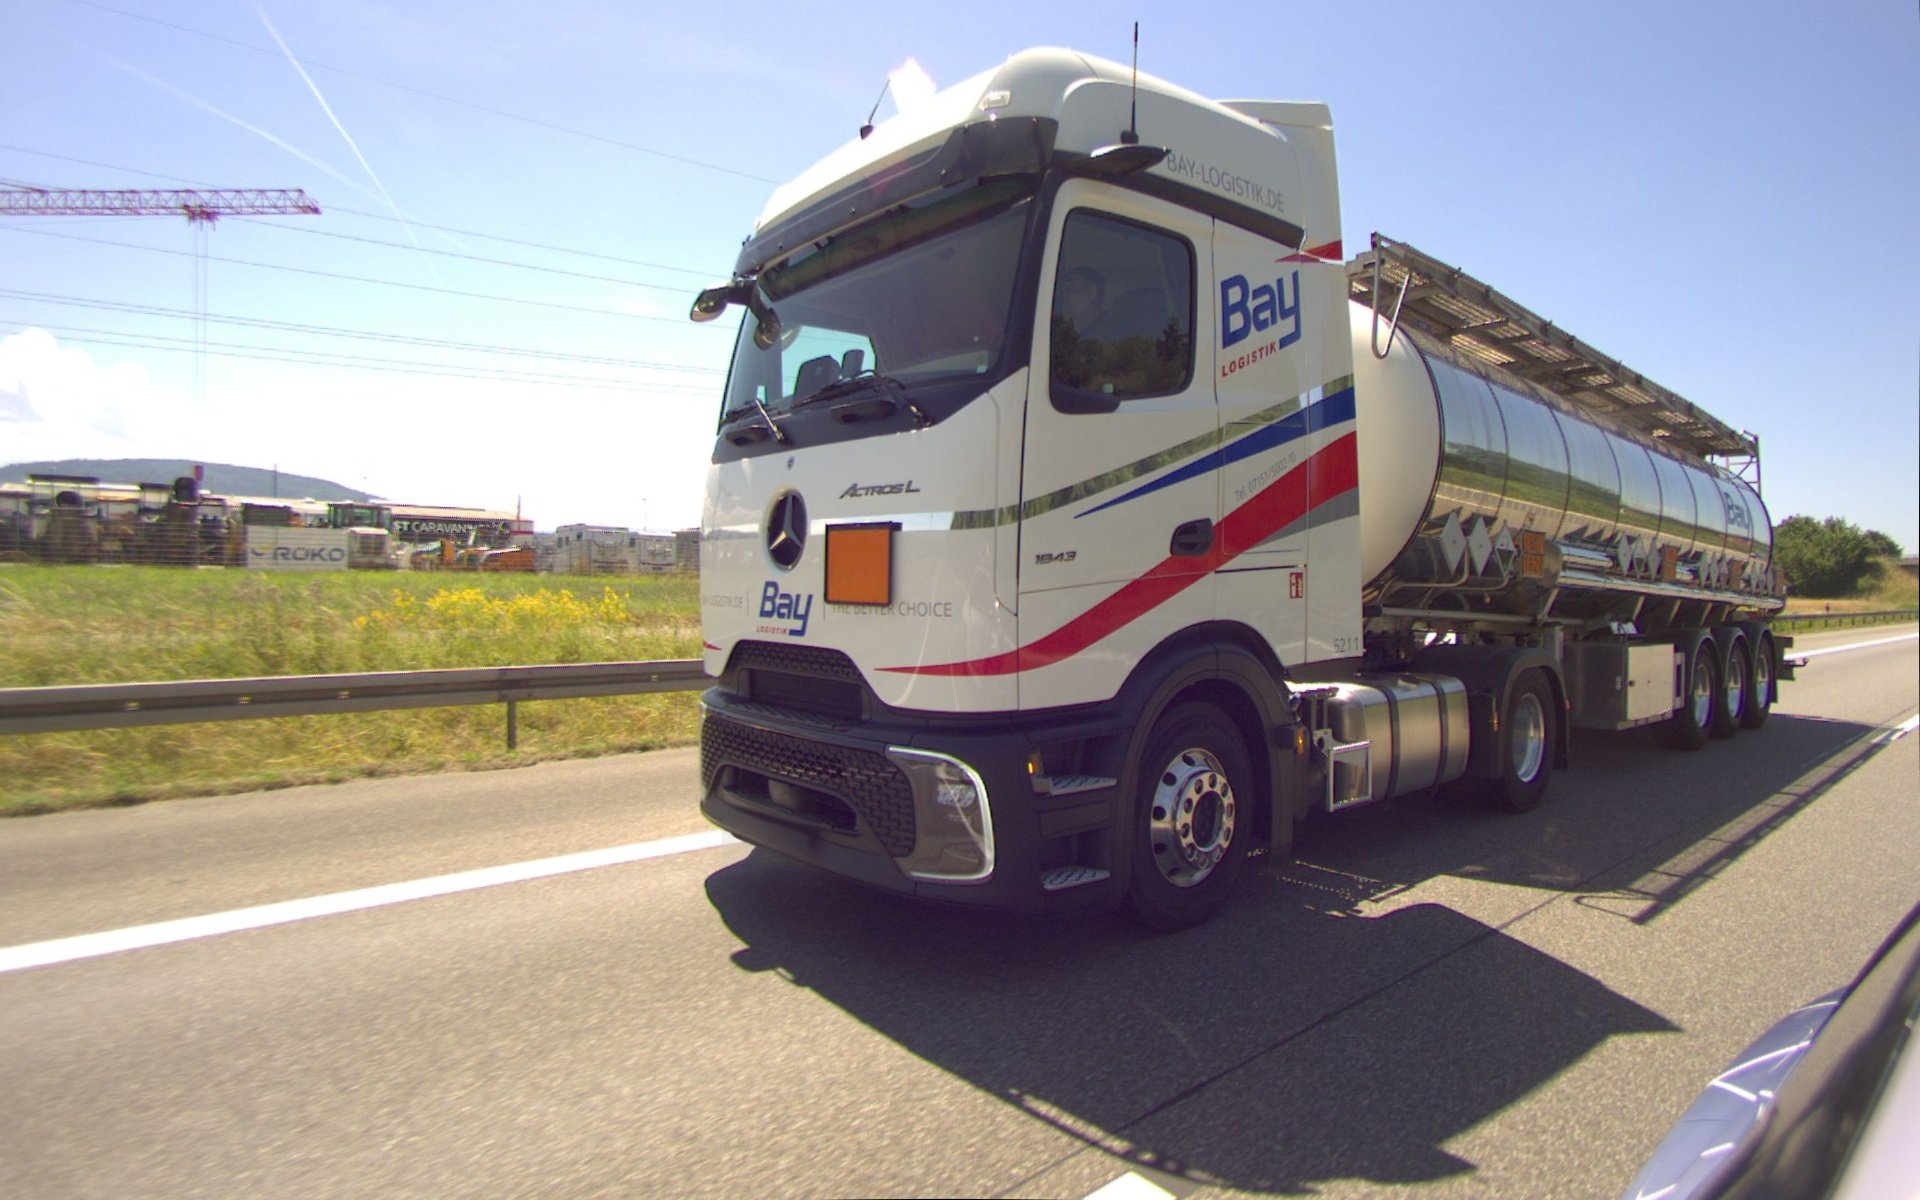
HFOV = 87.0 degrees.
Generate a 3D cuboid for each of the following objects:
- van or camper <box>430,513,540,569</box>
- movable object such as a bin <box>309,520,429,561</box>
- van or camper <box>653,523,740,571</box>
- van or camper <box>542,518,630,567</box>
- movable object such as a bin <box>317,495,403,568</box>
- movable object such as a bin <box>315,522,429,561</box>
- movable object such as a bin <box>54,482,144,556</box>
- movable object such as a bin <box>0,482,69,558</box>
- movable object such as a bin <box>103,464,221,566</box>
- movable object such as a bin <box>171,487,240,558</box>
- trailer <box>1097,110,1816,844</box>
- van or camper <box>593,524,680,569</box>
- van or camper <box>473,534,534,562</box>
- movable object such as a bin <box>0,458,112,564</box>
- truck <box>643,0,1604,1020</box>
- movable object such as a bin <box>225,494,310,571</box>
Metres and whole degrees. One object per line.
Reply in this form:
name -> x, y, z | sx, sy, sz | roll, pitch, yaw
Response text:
van or camper -> -24.869, -3.046, 52.691 | 3.103, 2.552, 9.337 | 0, 2, -38
movable object such as a bin -> -40.400, -4.026, 69.311 | 6.688, 2.585, 2.919 | -1, 3, -41
van or camper -> -15.133, -3.024, 57.842 | 2.393, 2.584, 6.360 | 1, 2, -38
van or camper -> -19.929, -3.033, 53.710 | 2.555, 2.431, 6.134 | 0, 2, -38
movable object such as a bin -> -28.326, -3.208, 47.564 | 3.151, 3.043, 8.766 | 0, 3, -33
movable object such as a bin -> -42.156, -4.156, 72.681 | 6.688, 2.585, 2.919 | -1, 3, -41
movable object such as a bin -> -46.295, -4.293, 54.659 | 2.867, 3.615, 9.076 | 0, 3, -35
movable object such as a bin -> -48.707, -4.117, 52.413 | 2.867, 3.615, 9.076 | 0, 3, -35
movable object such as a bin -> -33.483, -3.485, 42.809 | 3.353, 3.734, 9.753 | 0, 3, -35
movable object such as a bin -> -42.387, -4.292, 57.043 | 2.867, 3.615, 9.076 | 0, 3, -35
trailer -> 5.967, -0.697, 10.274 | 10.909, 4.126, 2.584 | 0, 0, -41
van or camper -> -17.904, -2.941, 55.827 | 2.555, 2.247, 6.134 | 0, 2, -38
van or camper -> -43.051, -4.871, 95.518 | 4.850, 2.415, 2.162 | 0, 2, -40
movable object such as a bin -> -36.440, -3.486, 40.546 | 2.920, 3.734, 9.753 | 0, 3, -35
truck -> 1.548, -0.695, 6.370 | 6.281, 4.124, 2.577 | 0, 0, -41
movable object such as a bin -> -31.094, -3.017, 45.502 | 2.899, 3.043, 8.763 | 0, 3, -34
